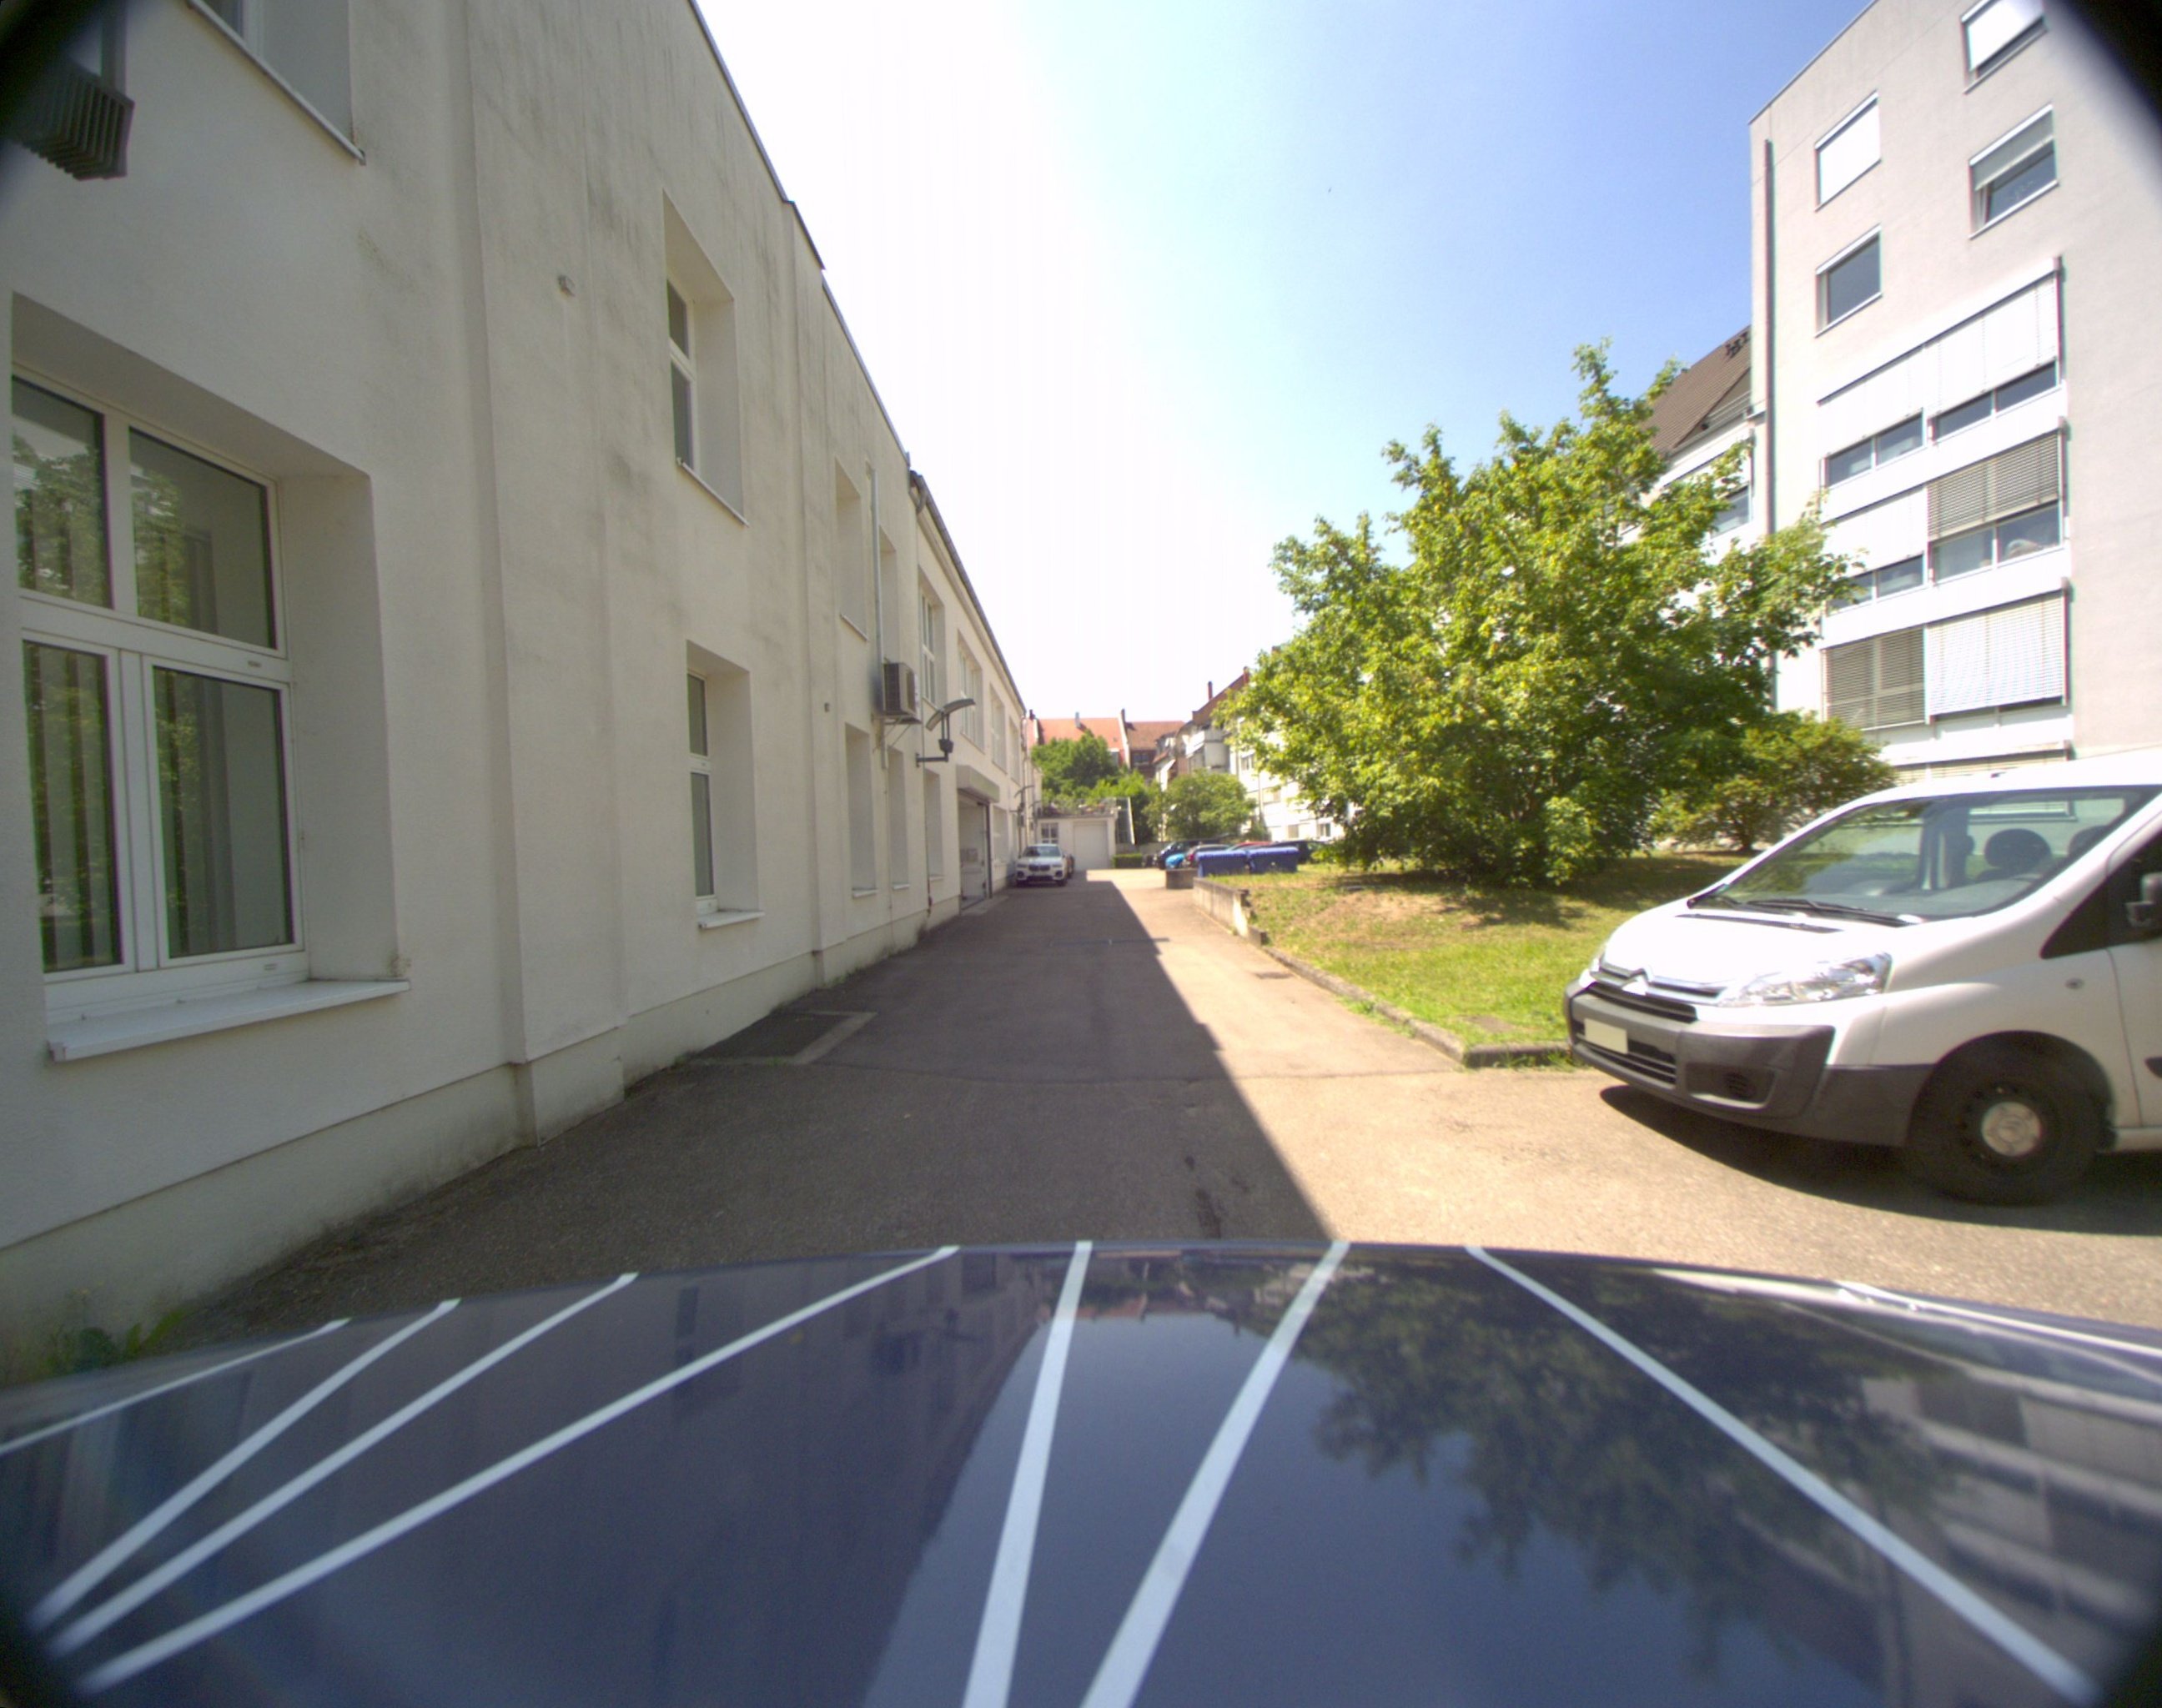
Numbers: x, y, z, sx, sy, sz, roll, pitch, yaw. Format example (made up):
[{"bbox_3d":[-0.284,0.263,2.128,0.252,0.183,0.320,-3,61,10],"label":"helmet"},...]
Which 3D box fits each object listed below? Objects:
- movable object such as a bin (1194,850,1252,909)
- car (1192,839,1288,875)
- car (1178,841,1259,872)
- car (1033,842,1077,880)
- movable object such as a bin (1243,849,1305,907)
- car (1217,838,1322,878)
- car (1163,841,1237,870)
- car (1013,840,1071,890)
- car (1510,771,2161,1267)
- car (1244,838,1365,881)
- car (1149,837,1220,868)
[{"bbox_3d":[3.587,0.632,19.308,1.271,1.381,1.095,-2,2,1],"label":"movable object such as a bin"},{"bbox_3d":[7.702,0.128,36.962,4.223,1.560,1.612,-2,2,-4],"label":"car"},{"bbox_3d":[7.848,0.113,43.578,4.223,1.560,1.612,-2,2,-4],"label":"car"},{"bbox_3d":[-1.297,0.308,40.454,2.011,1.793,4.726,-2,2,1],"label":"car"},{"bbox_3d":[4.885,0.585,19.310,1.271,1.381,1.095,-2,2,1],"label":"movable object such as a bin"},{"bbox_3d":[8.304,0.155,33.648,4.223,1.560,1.612,-2,2,-4],"label":"car"},{"bbox_3d":[7.286,0.076,46.645,4.223,1.560,1.612,-2,2,-4],"label":"car"},{"bbox_3d":[-1.525,0.384,31.654,2.011,1.793,4.726,-2,2,1],"label":"car"},{"bbox_3d":[5.192,0.560,3.817,4.858,1.873,2.067,-2,2,3],"label":"car"},{"bbox_3d":[9.048,0.197,30.931,4.445,1.560,1.612,-2,2,-4],"label":"car"},{"bbox_3d":[6.709,-0.104,49.586,4.223,1.813,2.008,-2,2,-4],"label":"car"}]
